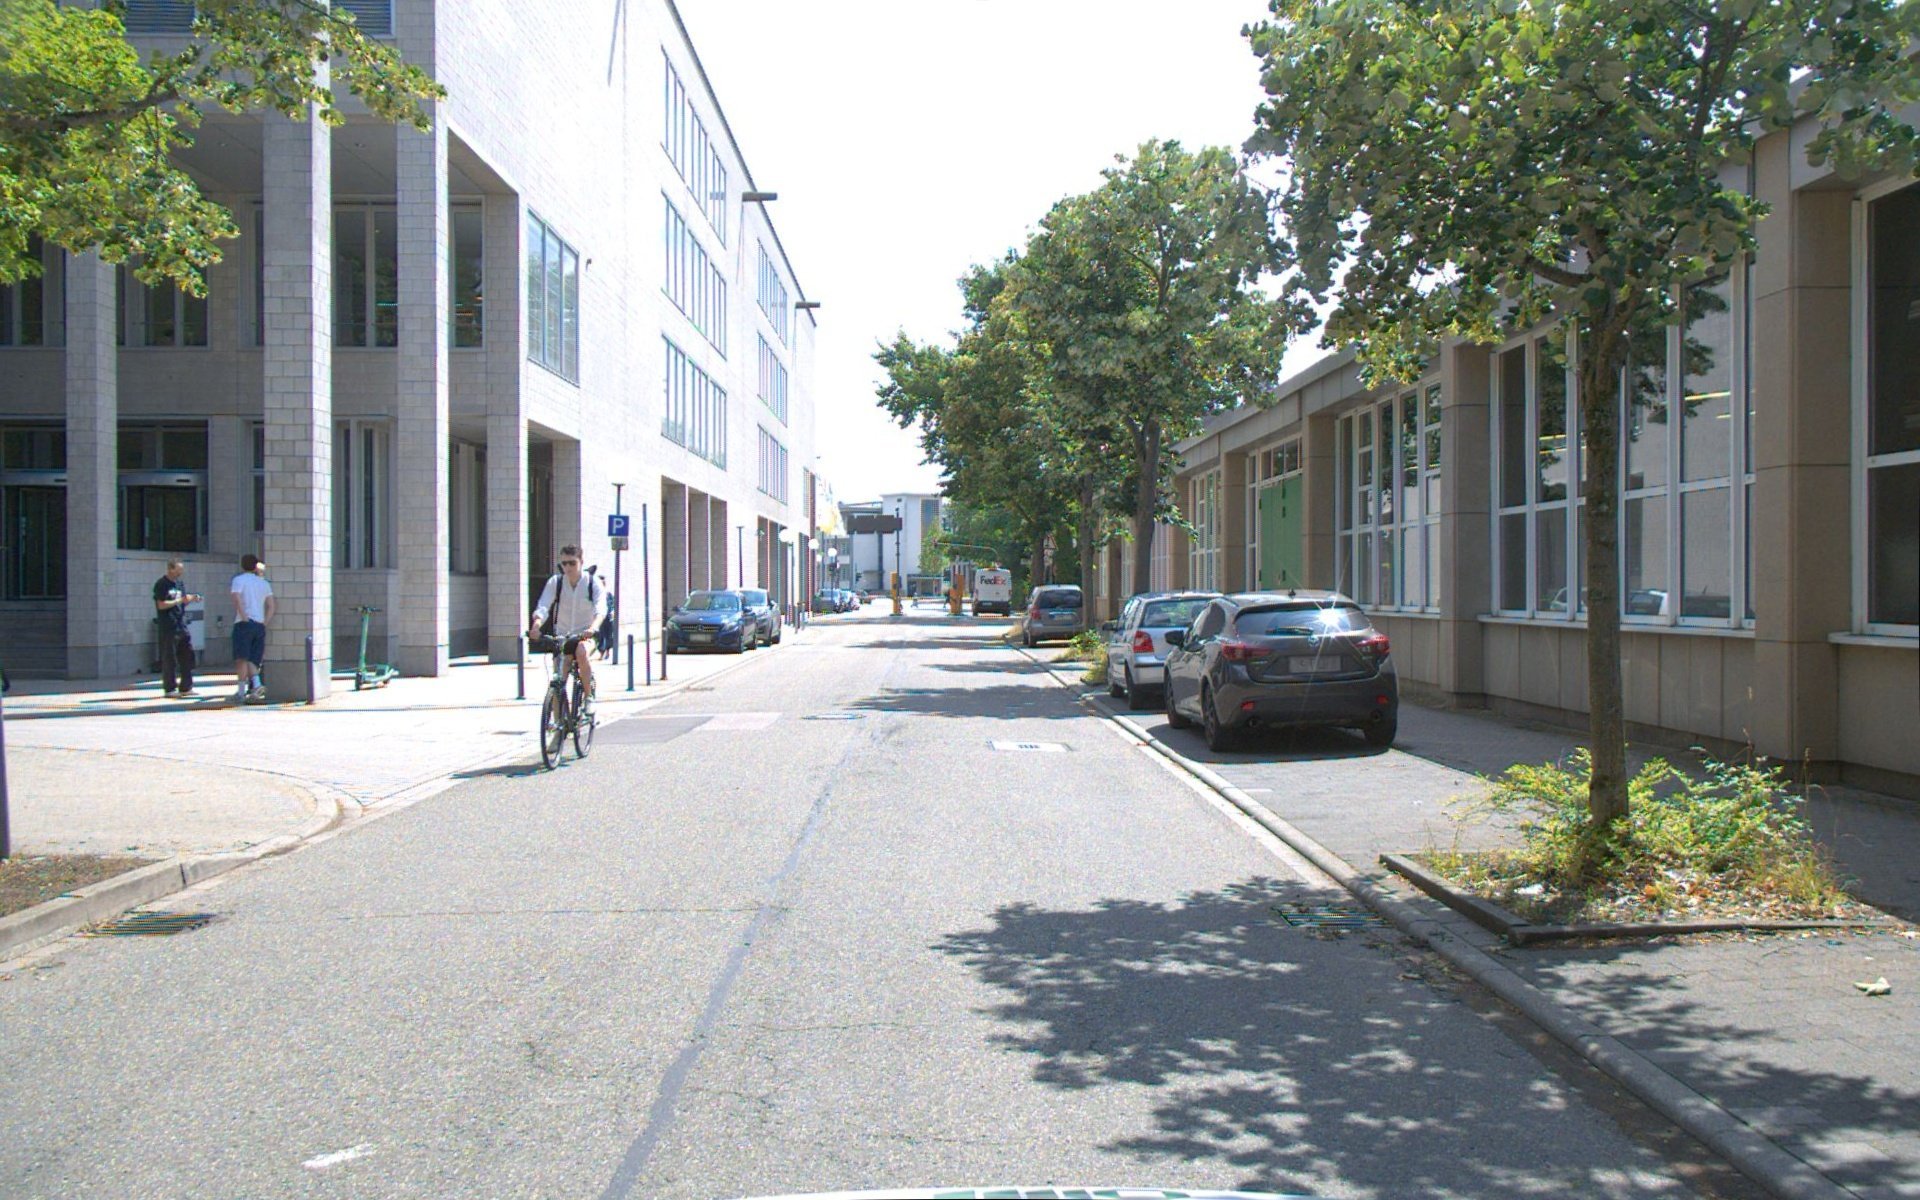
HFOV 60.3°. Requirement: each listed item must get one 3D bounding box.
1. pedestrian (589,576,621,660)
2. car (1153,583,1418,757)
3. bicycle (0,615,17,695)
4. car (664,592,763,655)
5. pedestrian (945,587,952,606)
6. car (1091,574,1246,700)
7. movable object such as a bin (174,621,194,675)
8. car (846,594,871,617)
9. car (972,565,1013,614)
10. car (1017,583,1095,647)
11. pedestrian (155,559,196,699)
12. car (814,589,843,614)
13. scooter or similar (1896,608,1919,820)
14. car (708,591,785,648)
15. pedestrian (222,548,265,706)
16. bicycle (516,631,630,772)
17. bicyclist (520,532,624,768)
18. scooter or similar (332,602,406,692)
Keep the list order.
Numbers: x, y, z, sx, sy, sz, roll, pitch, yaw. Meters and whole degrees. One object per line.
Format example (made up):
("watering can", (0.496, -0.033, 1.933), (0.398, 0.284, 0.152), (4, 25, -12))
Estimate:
("pedestrian", (-7.380, 0.364, 34.425), (0.638, 1.731, 0.887), (0, 0, -11))
("car", (3.169, 0.610, 16.997), (1.744, 1.502, 4.461), (-2, 0, -1))
("bicycle", (-12.857, 0.747, 21.142), (0.455, 1.032, 1.866), (1, 2, 3))
("car", (-5.927, 0.555, 40.249), (1.730, 1.452, 4.235), (0, 0, 1))
("pedestrian", (-1.006, -0.308, 148.267), (0.594, 1.648, 0.682), (1, 0, -2))
("car", (2.734, 0.453, 22.375), (1.583, 1.565, 3.779), (0, 0, -1))
("movable object such as a bin", (-13.416, 0.827, 28.602), (0.165, 0.910, 0.448), (0, 0, -6))
("car", (-7.169, 0.410, 117.548), (1.612, 1.524, 3.727), (-1, -2, -1))
("car", (1.770, -0.593, 90.869), (2.041, 2.584, 4.314), (1, 0, -1))
("car", (2.544, 0.379, 44.790), (1.820, 1.601, 4.000), (-1, 0, 0))
("pedestrian", (-10.285, 0.370, 21.689), (0.436, 1.806, 0.446), (0, 0, -31))
("car", (-8.387, 0.100, 105.595), (1.612, 1.524, 3.727), (-1, -2, -1))
("scooter or similar", (6.013, 0.683, 9.403), (0.500, 1.271, 1.485), (-1, 0, -1))
("car", (-5.832, 0.514, 45.487), (1.597, 1.511, 4.177), (0, 0, 0))
("pedestrian", (-9.112, 0.332, 21.022), (0.408, 1.975, 0.656), (1, 0, -30))
("bicycle", (-3.498, 0.884, 15.075), (0.671, 1.149, 1.887), (-1, 0, -3))
("bicyclist", (-3.494, 0.433, 14.979), (0.697, 2.049, 1.018), (-1, 0, -3))
("scooter or similar", (-8.463, 0.652, 23.739), (0.445, 1.245, 1.549), (0, 0, 3))
